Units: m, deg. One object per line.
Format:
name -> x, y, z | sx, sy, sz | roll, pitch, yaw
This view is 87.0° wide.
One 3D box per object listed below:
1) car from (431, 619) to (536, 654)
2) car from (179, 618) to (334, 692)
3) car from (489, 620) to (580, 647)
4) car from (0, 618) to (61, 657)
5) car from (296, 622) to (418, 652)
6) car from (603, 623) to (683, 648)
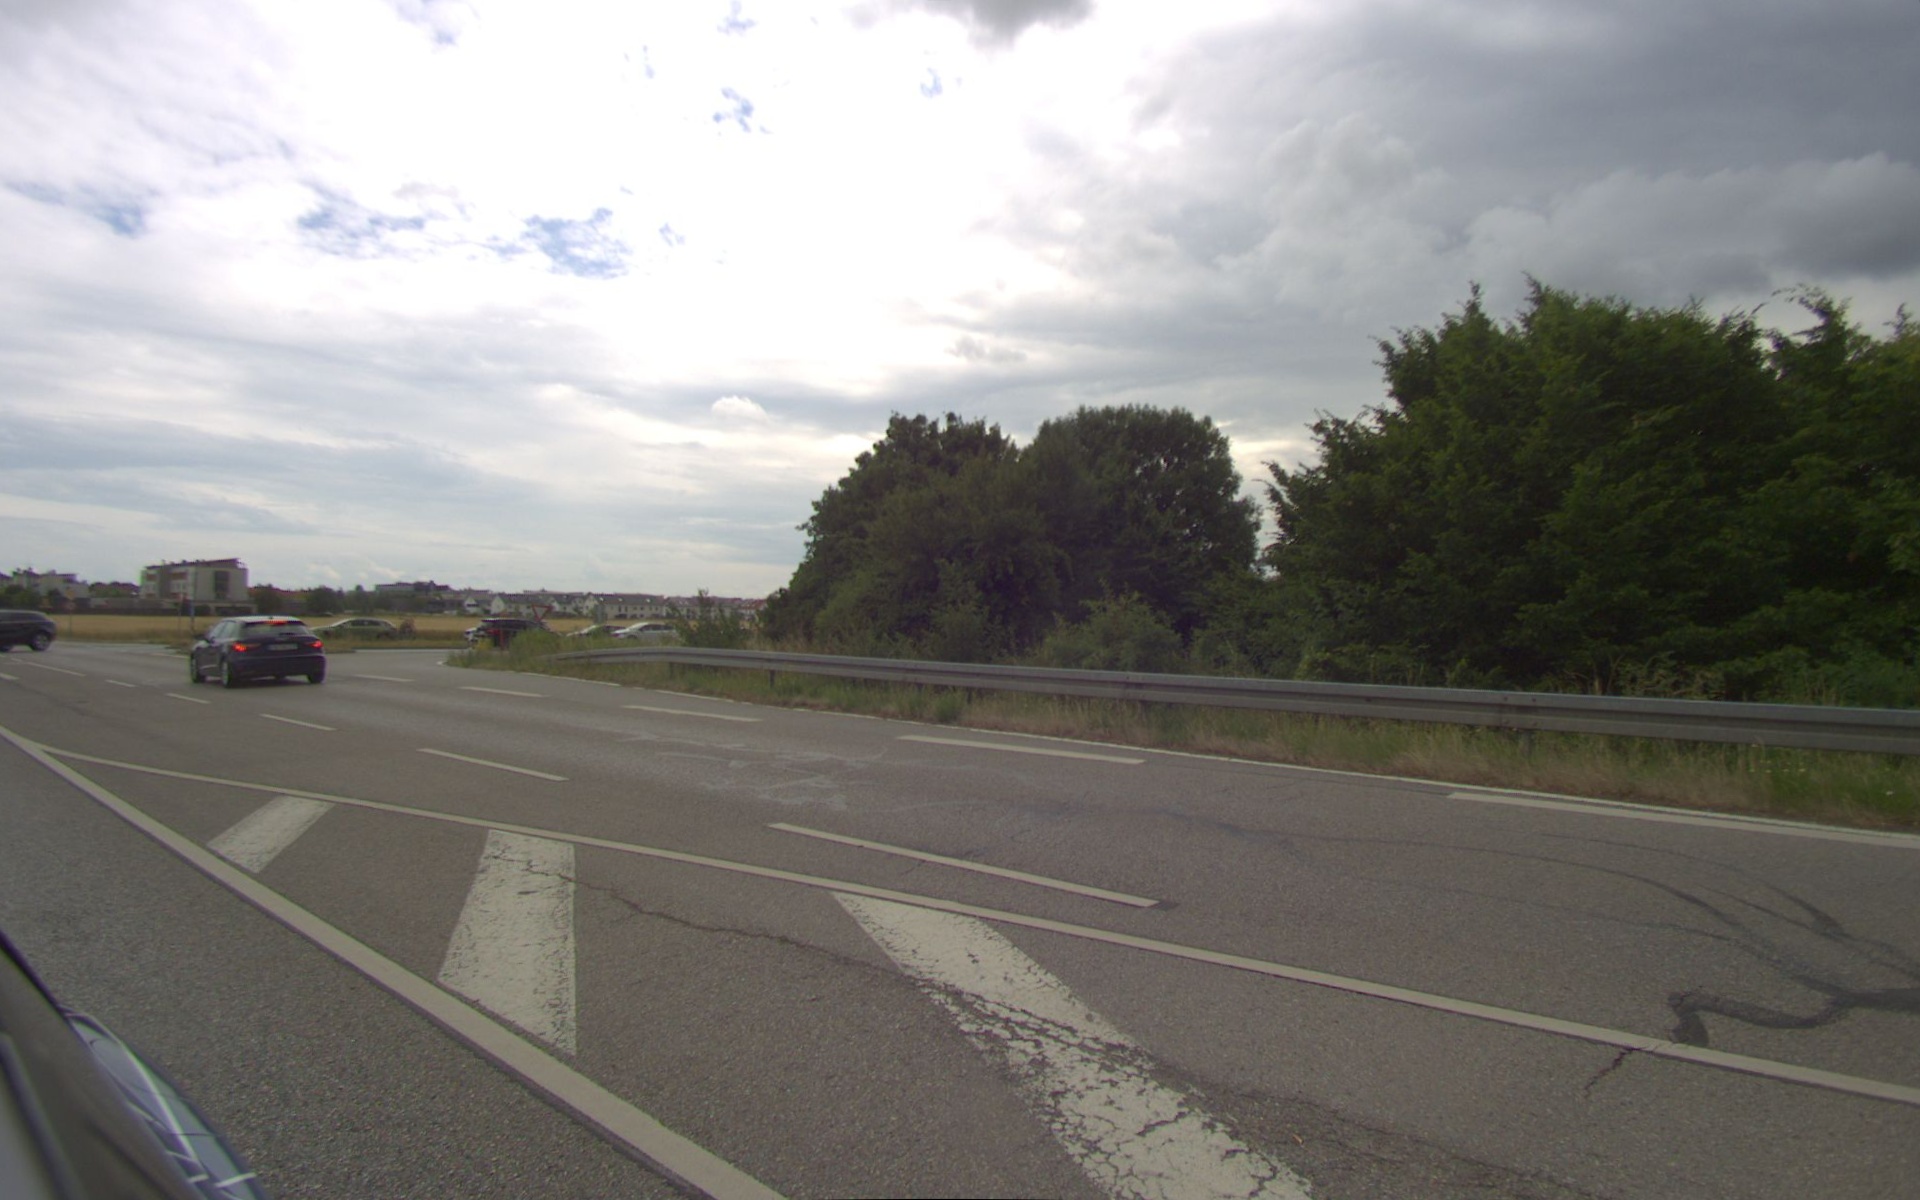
car -> -23.692, 1.793, 50.450 | 1.705, 1.623, 4.426 | -1, -2, 37
car -> -14.948, 1.100, 21.435 | 3.999, 1.387, 1.842 | -1, -1, 42
car -> -24.918, 1.950, 59.364 | 4.568, 1.528, 1.913 | 2, -2, -42
car -> -39.135, 1.505, 40.433 | 1.889, 1.543, 4.743 | 0, -1, 8
car -> -31.790, 1.946, 53.475 | 5.221, 1.533, 1.913 | 2, -2, -42
car -> -20.049, 2.254, 64.100 | 4.437, 1.493, 1.913 | 2, -2, -42
